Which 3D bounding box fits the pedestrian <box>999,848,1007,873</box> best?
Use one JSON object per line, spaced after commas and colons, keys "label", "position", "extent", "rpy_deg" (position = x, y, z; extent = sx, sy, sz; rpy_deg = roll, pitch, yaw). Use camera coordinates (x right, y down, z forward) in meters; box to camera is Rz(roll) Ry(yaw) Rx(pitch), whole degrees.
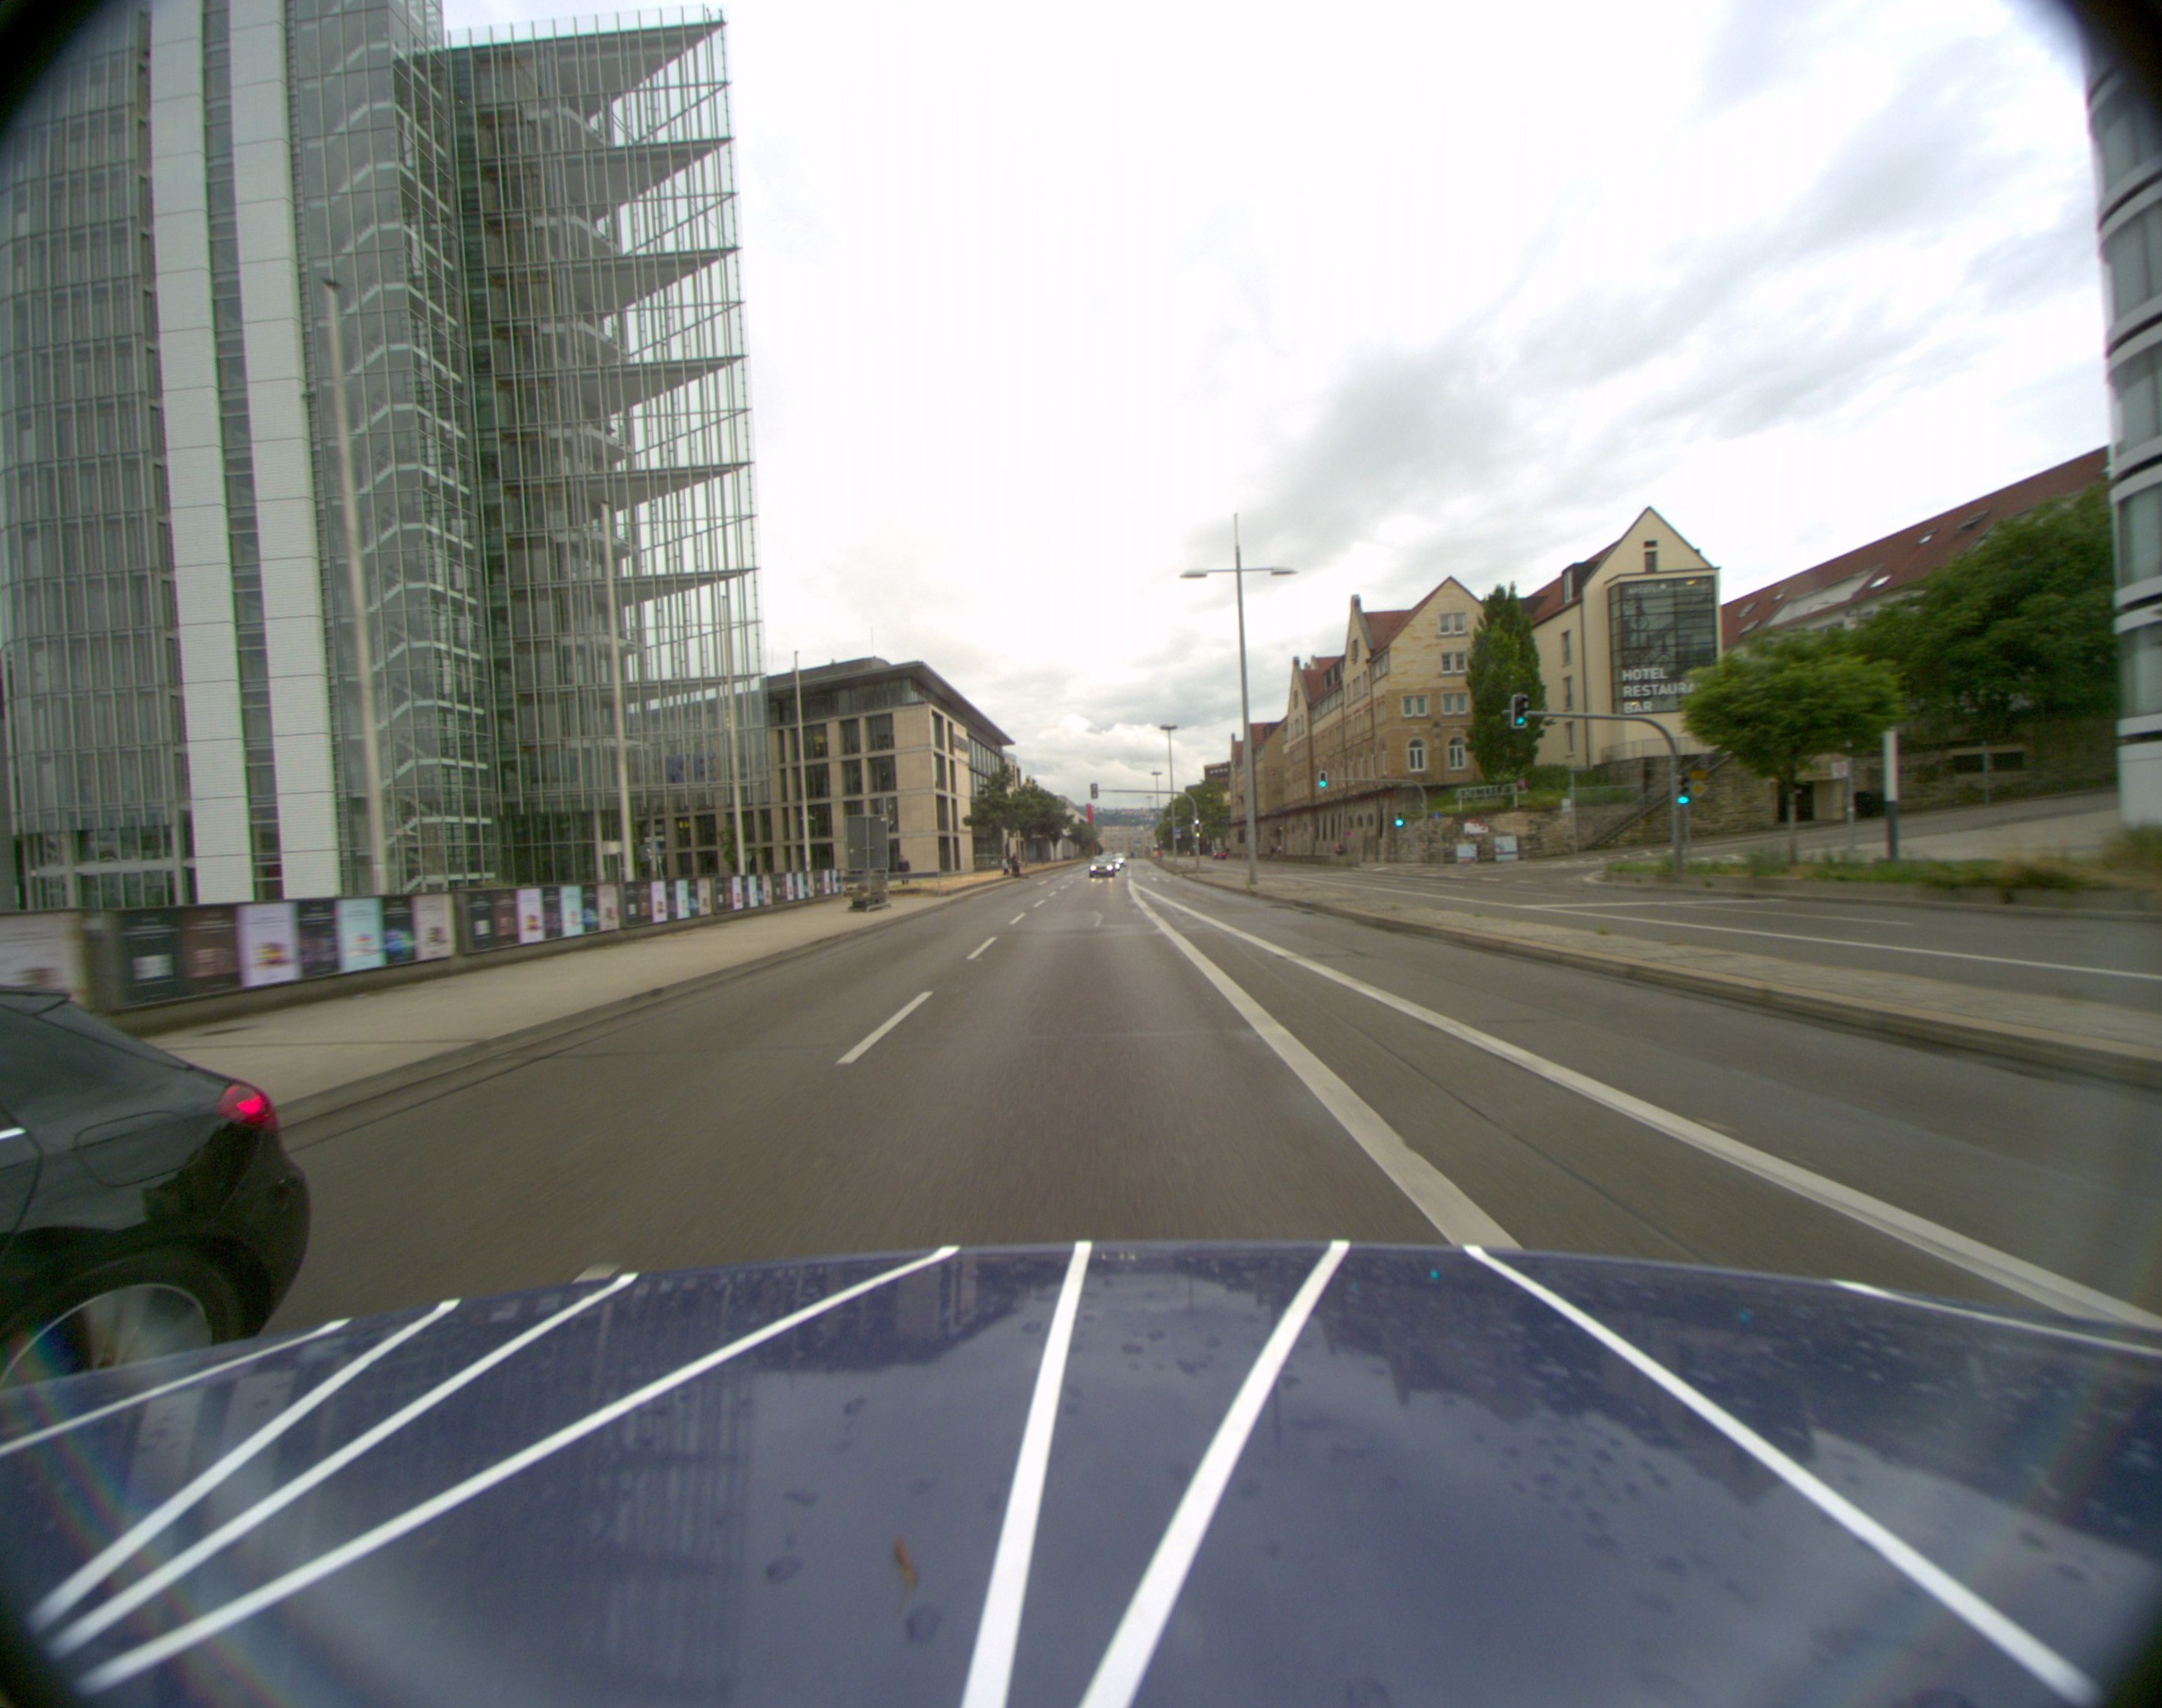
{"label": "pedestrian", "position": [-5.002, 0.424, 48.701], "extent": [0.461, 1.590, 0.655], "rpy_deg": [-2, 2, -10]}

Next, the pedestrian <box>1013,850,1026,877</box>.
{"label": "pedestrian", "position": [-4.116, 0.625, 50.615], "extent": [0.728, 1.761, 0.783], "rpy_deg": [-2, 2, 0]}

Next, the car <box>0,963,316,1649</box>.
{"label": "car", "position": [-3.184, 1.093, 0.201], "extent": [1.727, 1.368, 4.153], "rpy_deg": [-2, 2, -1]}

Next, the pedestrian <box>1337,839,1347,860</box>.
{"label": "pedestrian", "position": [22.189, -0.364, 64.613], "extent": [0.677, 1.769, 0.683], "rpy_deg": [-2, 2, 4]}

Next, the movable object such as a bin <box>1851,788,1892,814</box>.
{"label": "movable object such as a bin", "position": [42.267, -2.825, 40.634], "extent": [0.826, 1.237, 1.118], "rpy_deg": [-10, 0, 3]}

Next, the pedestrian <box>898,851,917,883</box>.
{"label": "pedestrian", "position": [-8.887, 0.664, 38.901], "extent": [0.660, 1.601, 0.547], "rpy_deg": [-3, 1, 11]}

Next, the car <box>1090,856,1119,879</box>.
{"label": "car", "position": [1.572, 0.914, 52.128], "extent": [1.684, 1.379, 3.474], "rpy_deg": [-2, 2, -3]}

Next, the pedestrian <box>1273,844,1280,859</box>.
{"label": "pedestrian", "position": [23.254, -0.339, 90.495], "extent": [0.677, 1.769, 0.683], "rpy_deg": [-2, 2, 4]}

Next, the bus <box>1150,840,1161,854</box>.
{"label": "bus", "position": [19.921, -1.835, 203.078], "extent": [2.499, 3.318, 8.452], "rpy_deg": [-3, -3, 4]}

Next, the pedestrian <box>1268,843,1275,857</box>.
{"label": "pedestrian", "position": [24.377, -0.545, 97.119], "extent": [0.677, 1.769, 0.683], "rpy_deg": [-2, 2, 4]}

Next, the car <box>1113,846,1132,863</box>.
{"label": "car", "position": [4.762, 0.109, 87.057], "extent": [1.970, 1.815, 3.929], "rpy_deg": [-3, 0, 3]}

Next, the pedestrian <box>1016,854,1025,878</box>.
{"label": "pedestrian", "position": [-3.944, 0.764, 49.495], "extent": [0.542, 1.519, 0.600], "rpy_deg": [-2, 2, -4]}

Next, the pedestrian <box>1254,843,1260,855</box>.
{"label": "pedestrian", "position": [25.546, -0.753, 110.445], "extent": [0.677, 1.769, 0.683], "rpy_deg": [-2, 2, 4]}

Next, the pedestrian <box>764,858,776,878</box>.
{"label": "pedestrian", "position": [-27.425, 1.249, 66.996], "extent": [0.634, 1.735, 0.635], "rpy_deg": [-1, 2, 24]}

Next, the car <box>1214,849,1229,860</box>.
{"label": "car", "position": [20.724, 0.104, 112.269], "extent": [1.714, 1.455, 4.001], "rpy_deg": [-3, 0, 4]}

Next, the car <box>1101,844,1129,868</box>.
{"label": "car", "position": [2.975, 0.139, 67.744], "extent": [1.999, 2.002, 3.997], "rpy_deg": [-2, 2, -3]}
